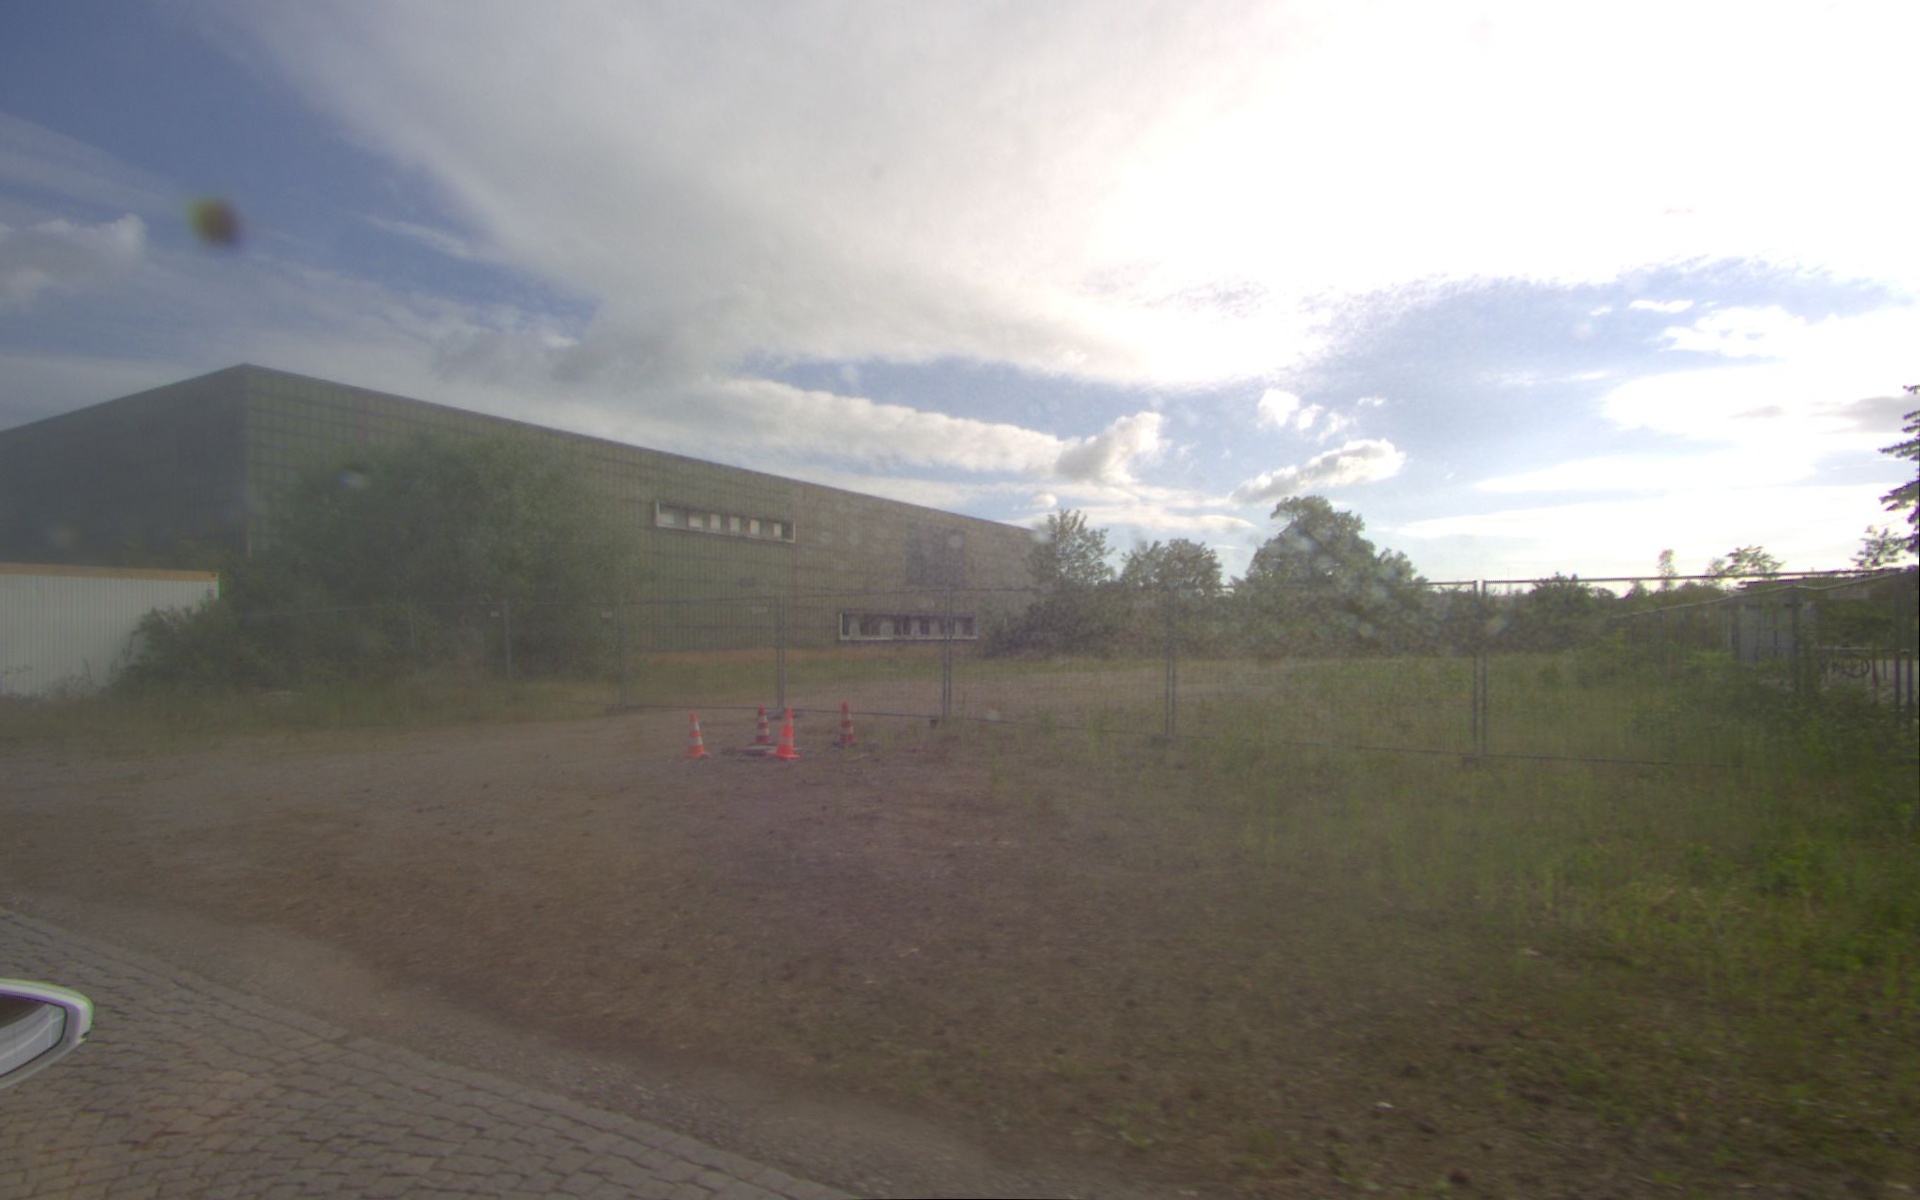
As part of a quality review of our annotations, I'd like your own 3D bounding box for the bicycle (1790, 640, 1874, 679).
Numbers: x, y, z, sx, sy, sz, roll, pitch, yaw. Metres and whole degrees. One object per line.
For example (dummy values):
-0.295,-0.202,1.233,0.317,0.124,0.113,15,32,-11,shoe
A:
25.141,1.710,28.915,1.738,1.112,0.520,-1,-3,31,bicycle
